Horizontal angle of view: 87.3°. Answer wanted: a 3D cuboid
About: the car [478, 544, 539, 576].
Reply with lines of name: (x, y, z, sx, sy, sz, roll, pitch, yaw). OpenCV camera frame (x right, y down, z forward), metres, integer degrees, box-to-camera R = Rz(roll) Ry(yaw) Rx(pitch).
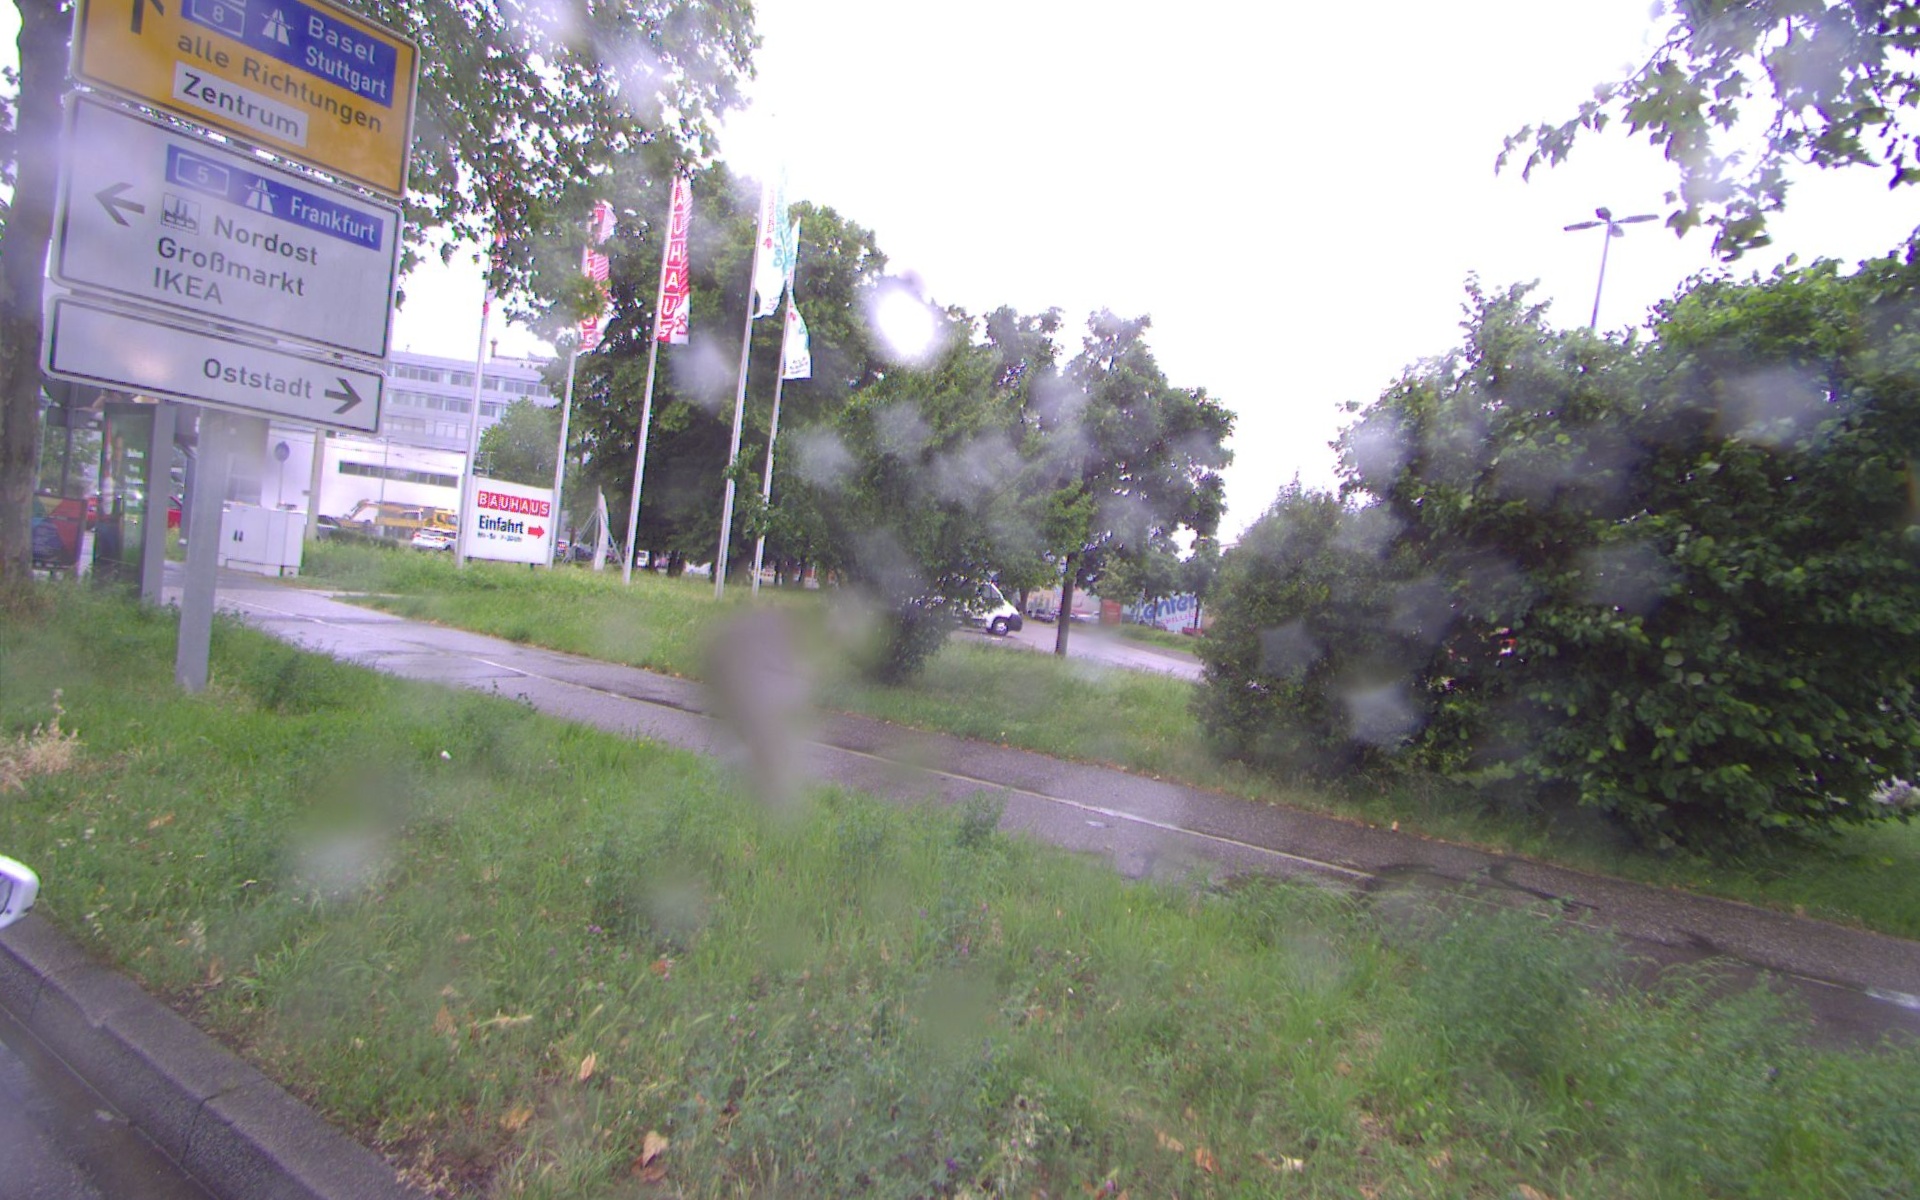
car: (-28.326, -2.459, 63.252, 1.893, 1.606, 4.622, 6, 0, -4)

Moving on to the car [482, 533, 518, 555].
car: (-46.978, -5.712, 102.903, 1.710, 1.746, 4.243, 8, -1, -2)

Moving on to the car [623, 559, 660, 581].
car: (-28.868, -2.717, 91.291, 1.892, 1.606, 4.624, 6, 0, -2)

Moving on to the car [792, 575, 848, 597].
car: (-15.415, -1.577, 111.069, 5.853, 1.753, 2.276, 6, 1, -3)

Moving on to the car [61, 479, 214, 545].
car: (-26.442, -2.782, 32.518, 1.647, 1.508, 3.817, 7, -1, 0)

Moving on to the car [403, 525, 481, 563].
car: (-27.878, -2.965, 54.351, 1.892, 1.606, 4.623, 6, 0, -3)

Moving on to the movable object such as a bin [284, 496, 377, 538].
movable object such as a bin: (-60.588, -7.920, 97.013, 6.601, 3.034, 3.324, 7, 1, -4)

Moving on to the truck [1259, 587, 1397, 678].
truck: (16.702, 1.339, 46.402, 2.508, 3.513, 8.008, 8, 0, -4)

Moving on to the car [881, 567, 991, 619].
car: (-1.391, -0.405, 57.642, 5.955, 2.232, 2.190, 7, 1, -2)

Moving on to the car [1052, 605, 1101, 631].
car: (11.777, 1.841, 101.739, 4.612, 2.038, 2.001, 7, 0, 3)

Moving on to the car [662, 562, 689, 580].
car: (-32.251, -3.270, 114.006, 1.892, 1.606, 4.623, 6, 0, -4)

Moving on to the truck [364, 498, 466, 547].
truck: (-52.673, -7.434, 97.336, 7.747, 3.552, 3.325, 7, 1, -4)

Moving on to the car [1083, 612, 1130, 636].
car: (15.604, 2.566, 107.534, 4.612, 2.038, 2.001, 7, 0, 3)

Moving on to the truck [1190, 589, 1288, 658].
truck: (16.520, 1.338, 60.317, 2.507, 3.511, 9.397, 8, 0, -2)

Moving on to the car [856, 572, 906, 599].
car: (-7.856, -1.438, 100.592, 4.670, 2.241, 1.964, 6, 1, -2)

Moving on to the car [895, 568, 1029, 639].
car: (0.025, 0.136, 40.917, 5.015, 2.232, 2.188, 7, 1, -9)

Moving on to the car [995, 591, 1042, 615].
car: (6.156, 0.318, 105.555, 4.613, 2.039, 1.999, 7, 1, 0)

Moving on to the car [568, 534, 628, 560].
car: (-35.029, -5.128, 97.458, 4.969, 1.674, 1.882, 8, -2, -3)
